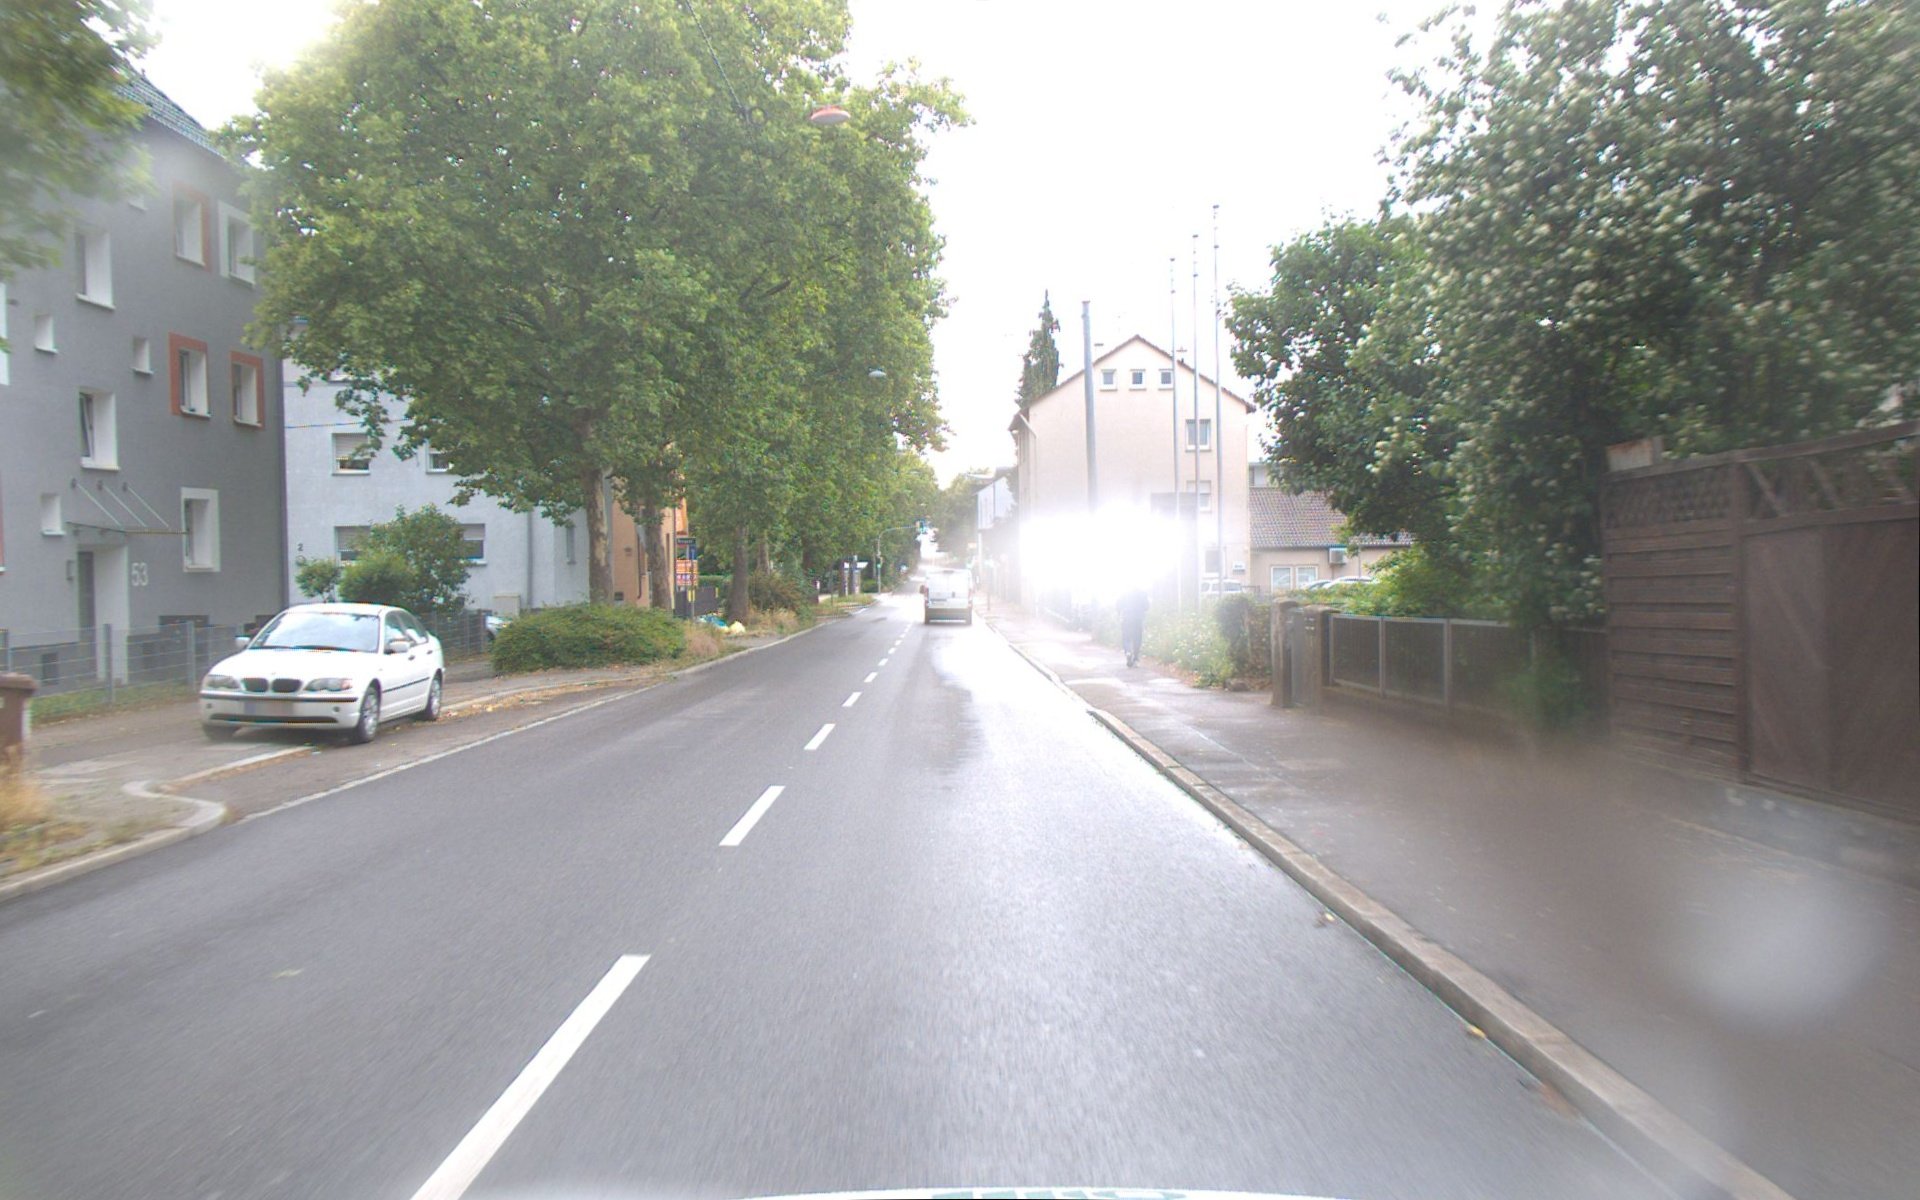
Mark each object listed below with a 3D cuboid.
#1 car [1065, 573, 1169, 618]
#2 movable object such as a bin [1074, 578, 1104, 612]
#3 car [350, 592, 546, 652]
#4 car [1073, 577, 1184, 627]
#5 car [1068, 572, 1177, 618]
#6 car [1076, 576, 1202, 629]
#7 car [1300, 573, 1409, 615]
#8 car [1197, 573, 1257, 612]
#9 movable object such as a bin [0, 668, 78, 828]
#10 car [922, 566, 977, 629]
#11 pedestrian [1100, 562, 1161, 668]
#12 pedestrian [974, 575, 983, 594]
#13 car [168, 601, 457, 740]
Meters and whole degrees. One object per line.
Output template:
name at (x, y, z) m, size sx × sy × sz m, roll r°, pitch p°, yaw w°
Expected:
car at (6.531, -0.178, 69.053) m, size 4.142 × 1.767 × 1.869 m, roll 1°, pitch -1°, yaw -1°
movable object such as a bin at (6.028, -0.226, 77.280) m, size 1.209 × 1.536 × 1.110 m, roll -3°, pitch -1°, yaw -2°
car at (-13.462, 0.574, 43.700) m, size 4.568 × 1.502 × 1.869 m, roll 1°, pitch -1°, yaw -1°
car at (6.210, 0.069, 61.226) m, size 3.868 × 1.754 × 1.791 m, roll 1°, pitch 0°, yaw -1°
car at (6.511, -0.181, 66.495) m, size 4.142 × 1.767 × 1.869 m, roll 1°, pitch -1°, yaw -1°
car at (6.318, 0.095, 58.702) m, size 4.215 × 1.799 × 1.999 m, roll 0°, pitch 0°, yaw -1°
car at (15.977, -0.221, 67.095) m, size 4.002 × 1.628 × 1.794 m, roll 1°, pitch -1°, yaw -2°
car at (11.004, -0.277, 68.361) m, size 1.771 × 1.557 × 3.626 m, roll 1°, pitch 0°, yaw -1°
movable object such as a bin at (-5.915, 0.913, 10.306) m, size 0.501 × 0.944 × 0.581 m, roll -2°, pitch -1°, yaw -1°
car at (-0.437, -0.088, 69.728) m, size 2.236 × 2.597 × 3.999 m, roll 0°, pitch 0°, yaw -1°
pedestrian at (3.170, 0.273, 30.818) m, size 1.022 × 1.930 × 0.900 m, roll -1°, pitch -1°, yaw -1°
pedestrian at (1.699, -1.471, 153.814) m, size 0.728 × 1.734 × 0.900 m, roll 1°, pitch 0°, yaw -6°
car at (-7.093, 0.701, 18.635) m, size 1.721 × 1.349 × 4.535 m, roll 0°, pitch 0°, yaw -4°
